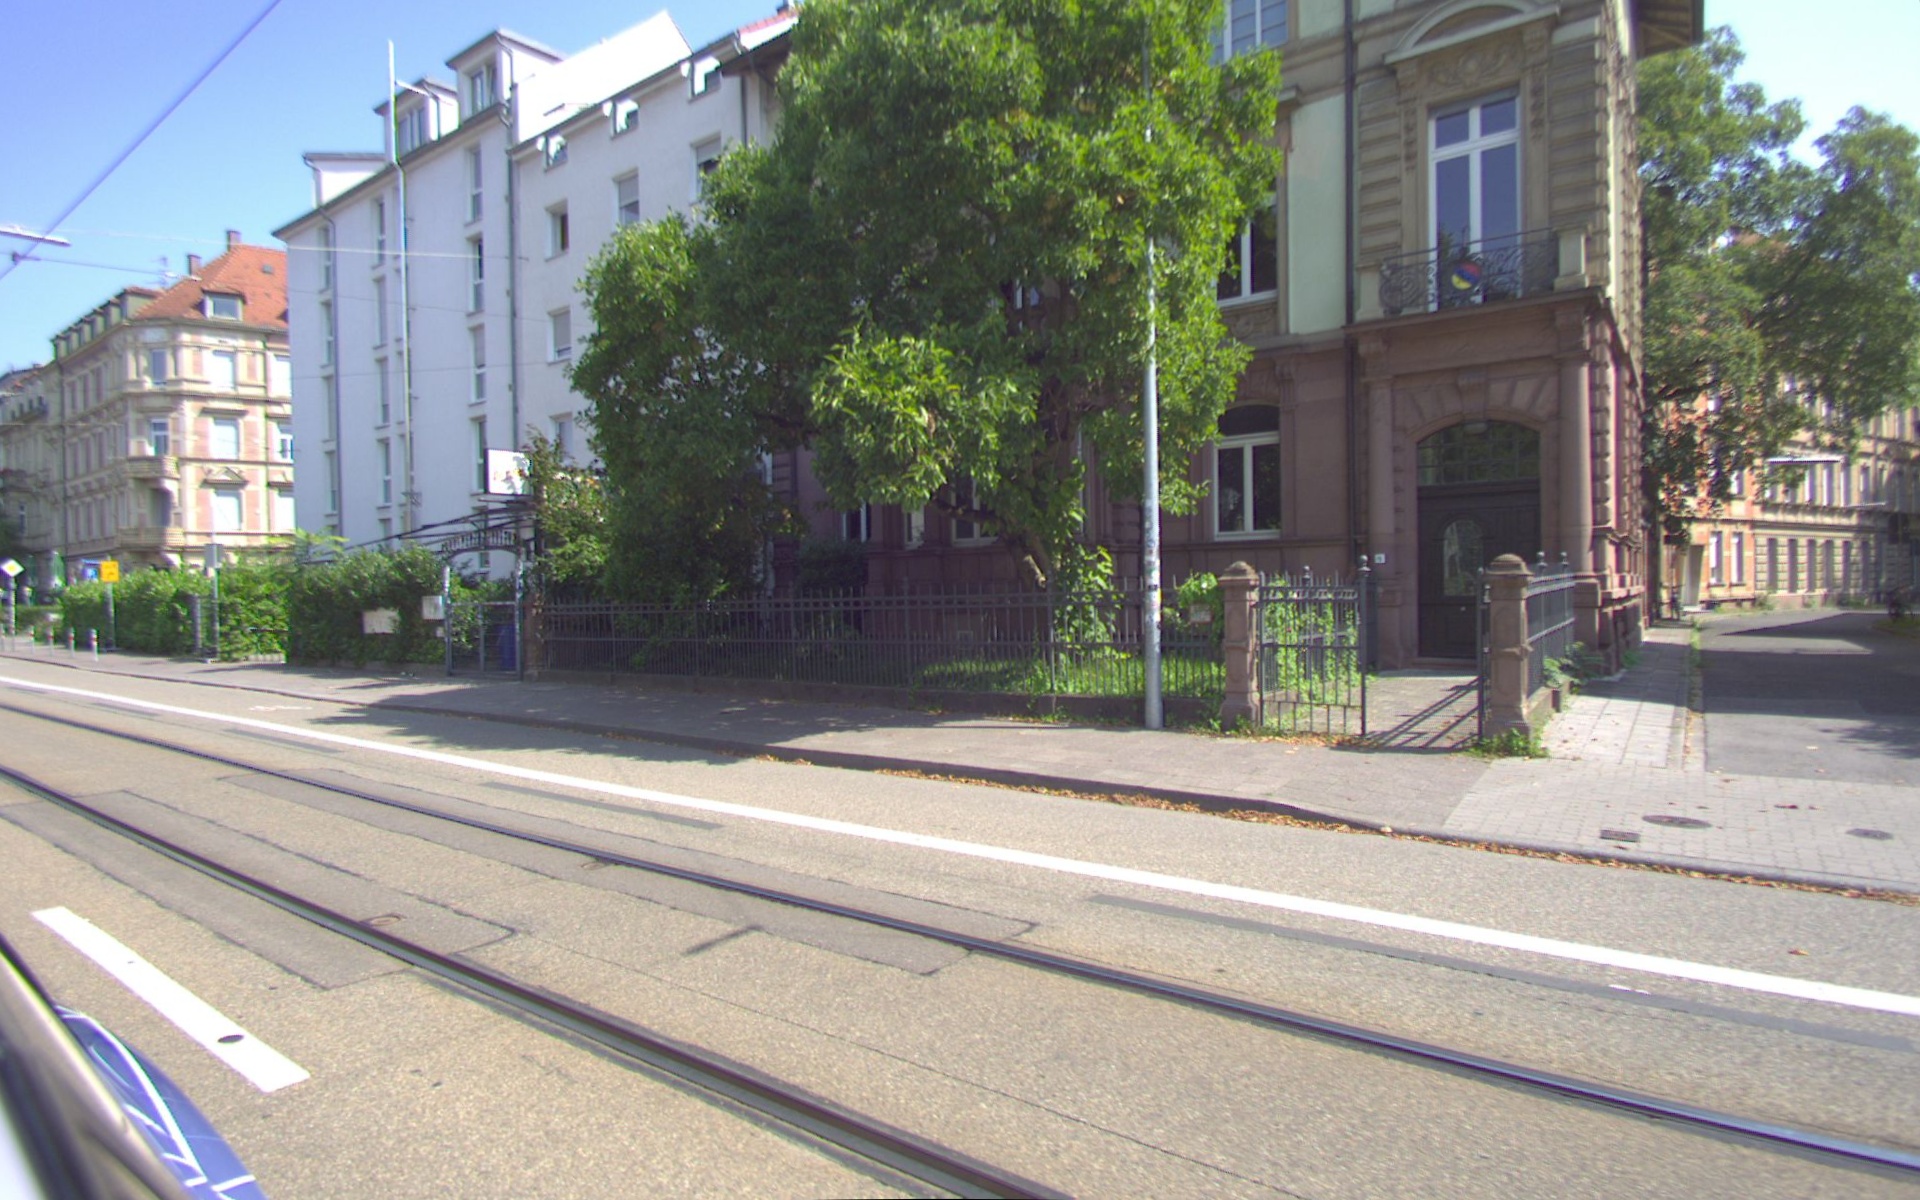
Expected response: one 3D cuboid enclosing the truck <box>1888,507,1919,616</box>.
[{"bbox_3d":[30.032,-1.192,31.229,2.000,3.139,6.190,0,1,42],"label":"truck"}]
